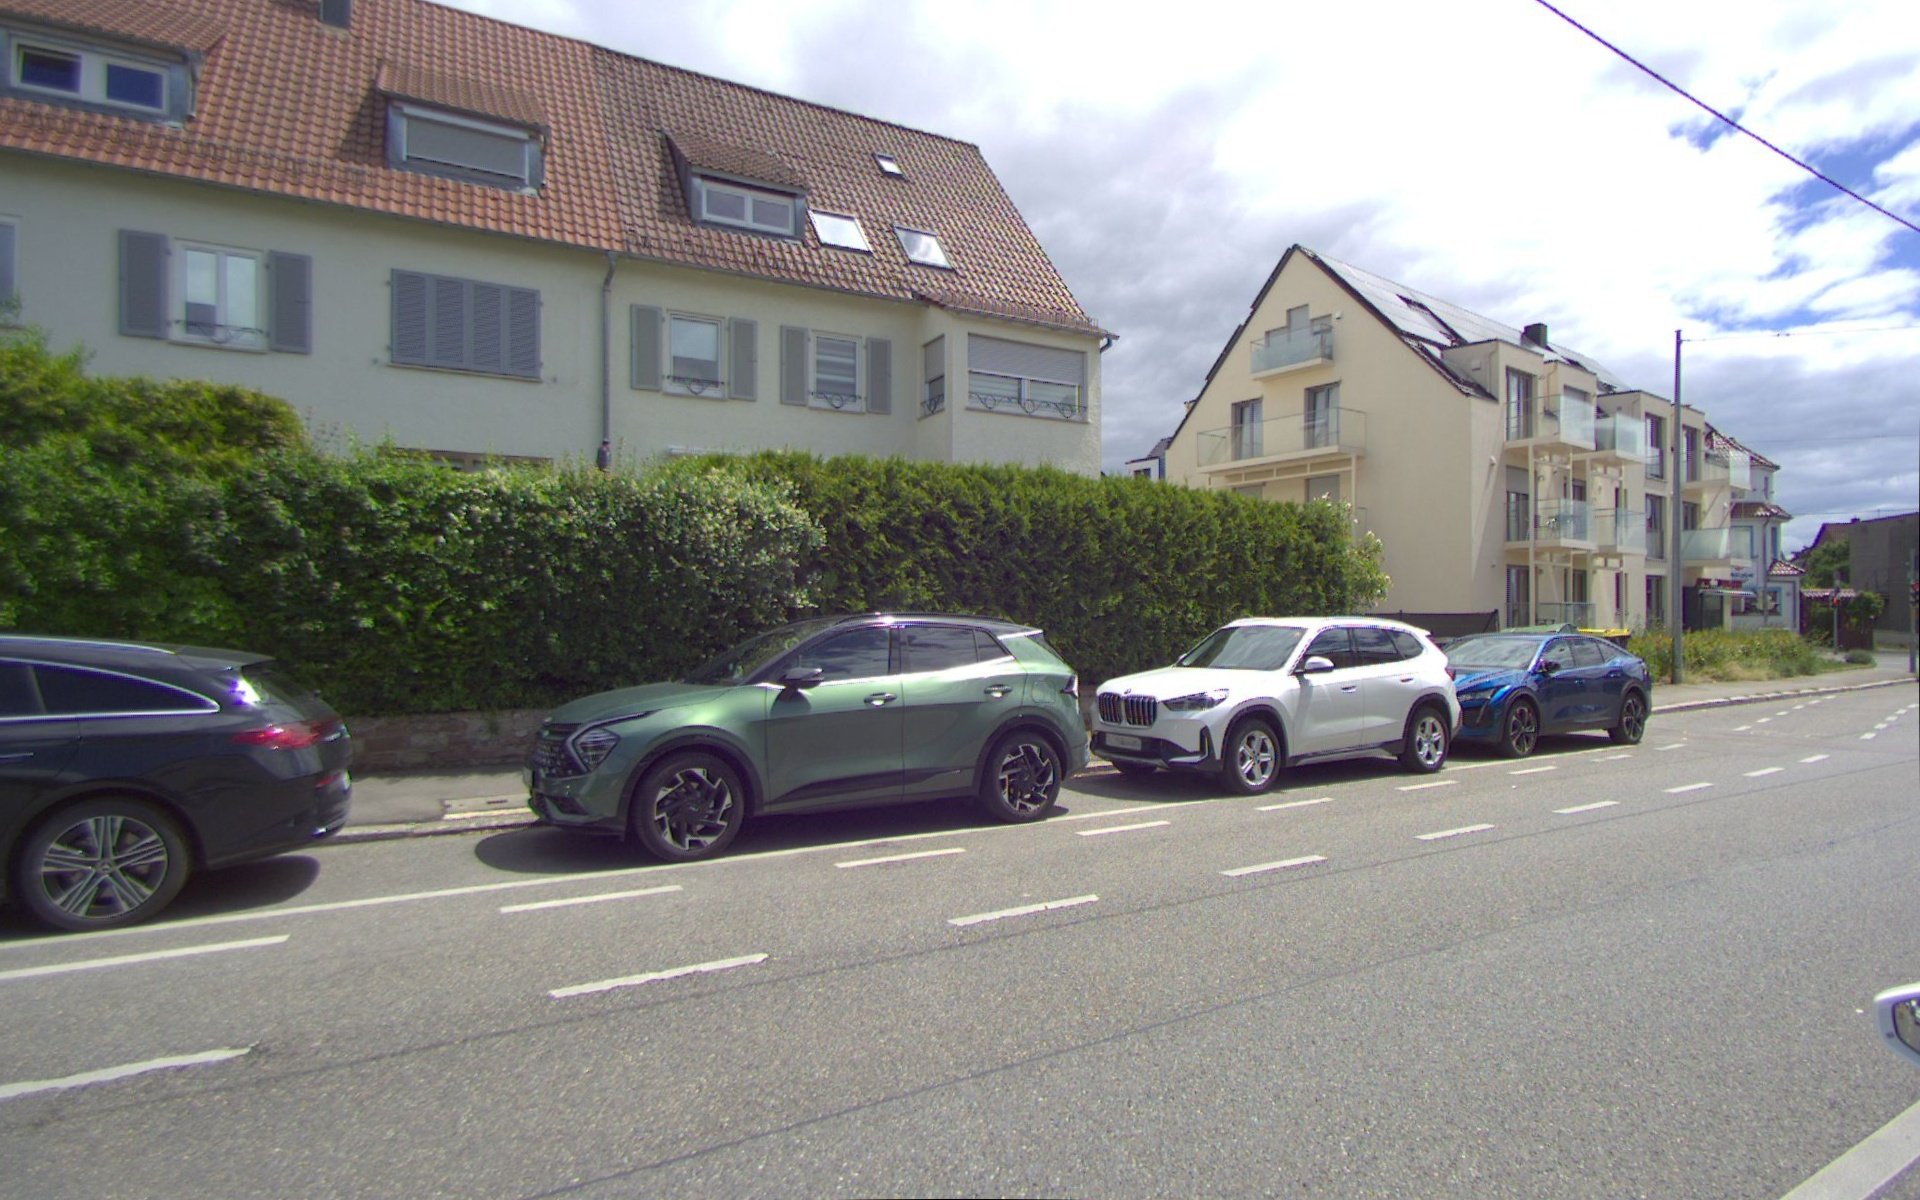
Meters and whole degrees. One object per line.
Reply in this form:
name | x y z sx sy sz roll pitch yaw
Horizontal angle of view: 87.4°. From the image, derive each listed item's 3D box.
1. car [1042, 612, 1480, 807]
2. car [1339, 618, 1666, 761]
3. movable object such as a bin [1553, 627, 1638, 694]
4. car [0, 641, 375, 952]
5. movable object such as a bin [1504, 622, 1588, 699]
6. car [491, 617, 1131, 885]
car | 3.263 1.002 10.660 4.466 1.672 1.984 1 -1 -31
car | 7.317 1.079 13.436 4.440 1.608 1.982 2 -1 -33
movable object such as a bin | 13.162 1.233 20.807 1.199 1.330 1.060 1 -1 -29
car | -5.776 0.948 5.212 4.632 1.427 1.985 1 -1 -29
movable object such as a bin | 11.935 1.205 20.466 1.201 1.501 1.059 1 -1 -33
car | -1.096 0.960 7.962 4.632 1.584 1.985 1 -1 -29
